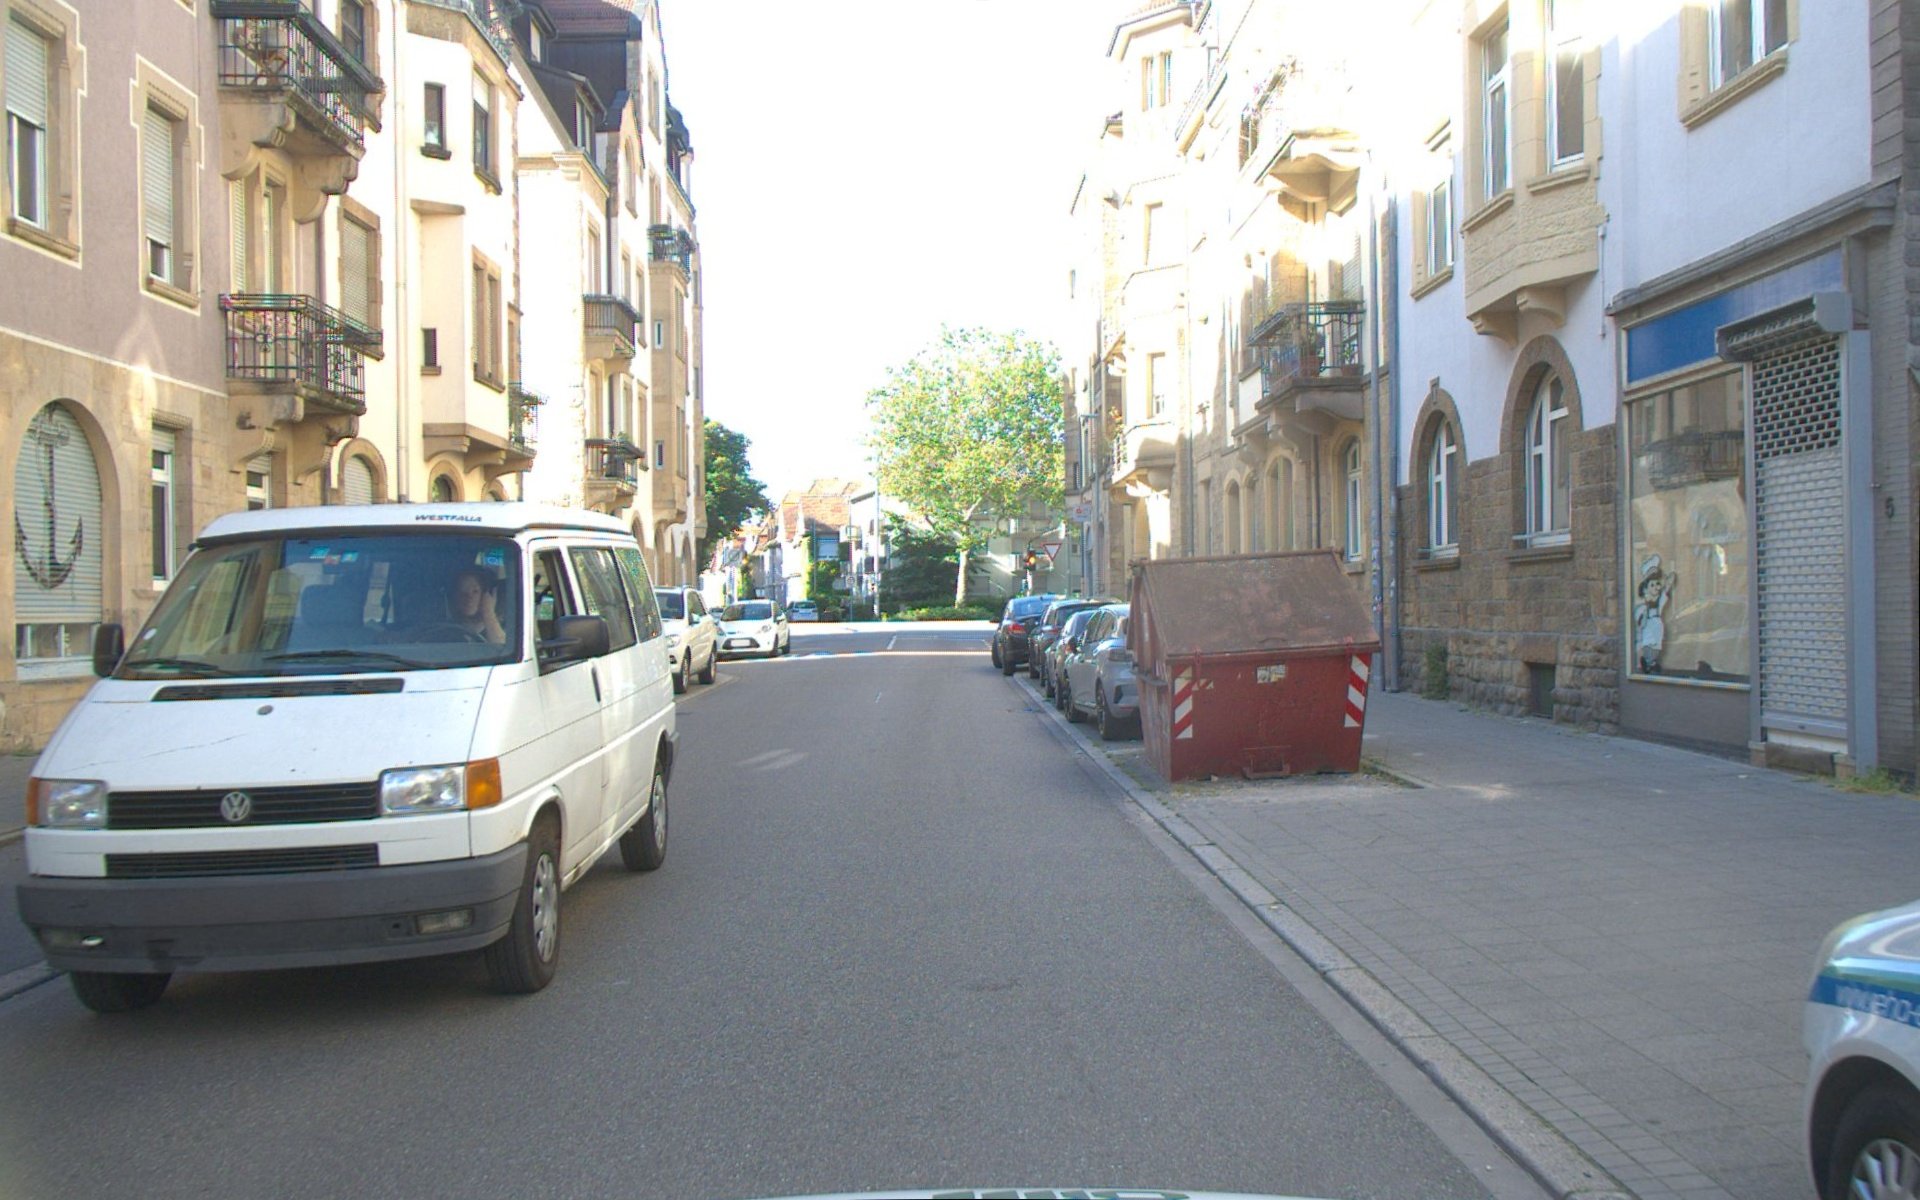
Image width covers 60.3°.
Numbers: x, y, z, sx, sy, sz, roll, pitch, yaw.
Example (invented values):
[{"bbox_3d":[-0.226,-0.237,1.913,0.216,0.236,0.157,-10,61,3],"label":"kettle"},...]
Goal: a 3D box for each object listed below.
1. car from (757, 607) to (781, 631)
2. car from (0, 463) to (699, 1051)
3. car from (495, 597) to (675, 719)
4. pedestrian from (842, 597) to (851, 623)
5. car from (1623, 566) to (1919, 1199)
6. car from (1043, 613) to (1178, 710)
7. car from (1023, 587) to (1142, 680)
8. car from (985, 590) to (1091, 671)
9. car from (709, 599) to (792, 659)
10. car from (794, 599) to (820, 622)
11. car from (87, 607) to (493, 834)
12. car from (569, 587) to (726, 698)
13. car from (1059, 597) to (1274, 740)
[{"bbox_3d":[-16.910,1.658,146.318,1.957,2.049,3.991,-1,0,-9],"label":"car"},{"bbox_3d":[-2.518,0.524,7.934,1.825,1.971,4.599,-1,0,-1],"label":"car"},{"bbox_3d":[-5.113,0.728,23.064,1.541,1.513,4.279,1,0,-1],"label":"car"},{"bbox_3d":[-7.706,0.678,111.992,0.620,1.780,0.658,0,-1,-4],"label":"pedestrian"},{"bbox_3d":[2.497,0.667,2.227,1.554,1.490,3.710,-1,0,-3],"label":"car"},{"bbox_3d":[2.132,0.851,24.316,1.658,1.276,3.941,1,-1,1],"label":"car"},{"bbox_3d":[2.093,0.537,29.224,1.618,1.467,4.257,-2,0,-2],"label":"car"},{"bbox_3d":[1.525,0.575,33.828,1.828,1.487,4.338,-1,0,-2],"label":"car"},{"bbox_3d":[-5.475,0.722,43.521,1.600,1.489,3.735,-1,0,1],"label":"car"},{"bbox_3d":[-10.143,0.709,109.438,1.642,1.509,3.517,0,-1,-6],"label":"car"},{"bbox_3d":[-4.981,0.810,12.850,1.638,1.417,3.666,2,0,-1],"label":"car"},{"bbox_3d":[-5.298,0.670,28.657,1.853,1.752,4.725,1,0,-1],"label":"car"},{"bbox_3d":[2.284,0.715,19.238,1.751,1.455,3.804,-1,0,-4],"label":"car"}]
